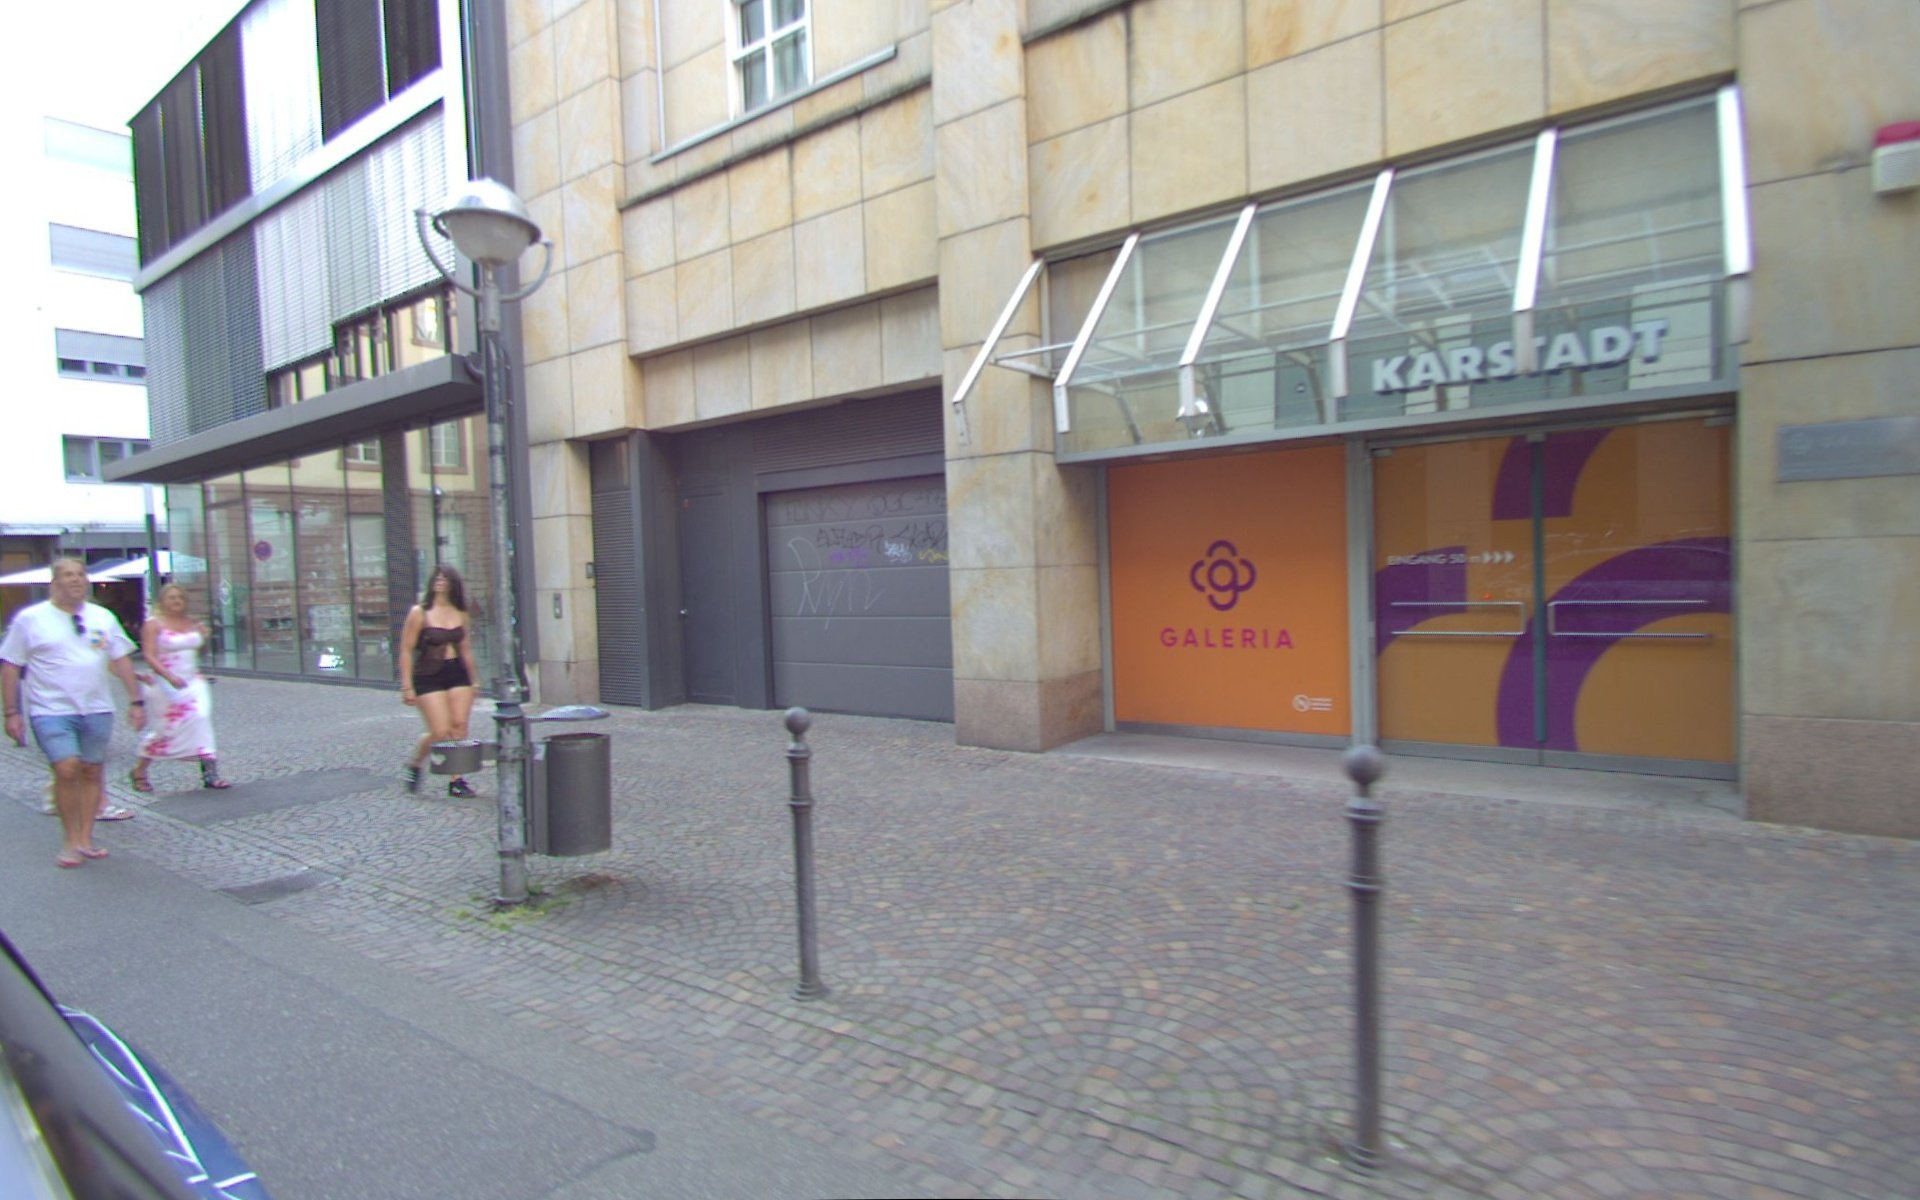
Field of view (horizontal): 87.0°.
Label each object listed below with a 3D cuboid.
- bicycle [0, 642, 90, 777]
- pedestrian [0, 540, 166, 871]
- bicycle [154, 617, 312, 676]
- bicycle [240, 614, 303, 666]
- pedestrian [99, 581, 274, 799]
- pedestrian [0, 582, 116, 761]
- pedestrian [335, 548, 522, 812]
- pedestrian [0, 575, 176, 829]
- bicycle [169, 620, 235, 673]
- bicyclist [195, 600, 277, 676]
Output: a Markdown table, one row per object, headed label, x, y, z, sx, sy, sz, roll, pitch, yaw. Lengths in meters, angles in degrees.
| label | x | y | z | sx | sy | sz | roll | pitch | yaw |
| --- | --- | --- | --- | --- | --- | --- | --- | --- | --- |
| bicycle | -9.188 | 1.021 | 9.933 | 1.911 | 1.162 | 0.528 | -1 | 3 | 37 |
| pedestrian | -5.480 | 0.581 | 6.168 | 0.876 | 1.836 | 0.736 | -1 | 1 | 35 |
| bicycle | -18.557 | 1.150 | 25.948 | 0.921 | 1.269 | 3.120 | -2 | 1 | 35 |
| bicycle | -16.620 | 0.968 | 24.420 | 1.838 | 1.159 | 0.602 | -3 | 0 | 36 |
| pedestrian | -6.266 | 0.707 | 8.226 | 0.852 | 1.677 | 0.674 | -2 | 1 | 13 |
| pedestrian | -9.382 | 0.712 | 10.423 | 0.584 | 1.731 | 0.769 | -3 | 2 | 6 |
| pedestrian | -3.930 | 0.544 | 7.501 | 0.968 | 1.808 | 0.780 | -1 | 1 | 30 |
| pedestrian | -6.564 | 0.711 | 7.423 | 0.938 | 1.742 | 0.807 | -2 | 1 | 9 |
| bicycle | -17.223 | 1.057 | 22.983 | 1.670 | 1.121 | 0.701 | -3 | 0 | 36 |
| bicyclist | -18.554 | 0.964 | 25.956 | 0.921 | 1.831 | 1.453 | -2 | 1 | 36 |
